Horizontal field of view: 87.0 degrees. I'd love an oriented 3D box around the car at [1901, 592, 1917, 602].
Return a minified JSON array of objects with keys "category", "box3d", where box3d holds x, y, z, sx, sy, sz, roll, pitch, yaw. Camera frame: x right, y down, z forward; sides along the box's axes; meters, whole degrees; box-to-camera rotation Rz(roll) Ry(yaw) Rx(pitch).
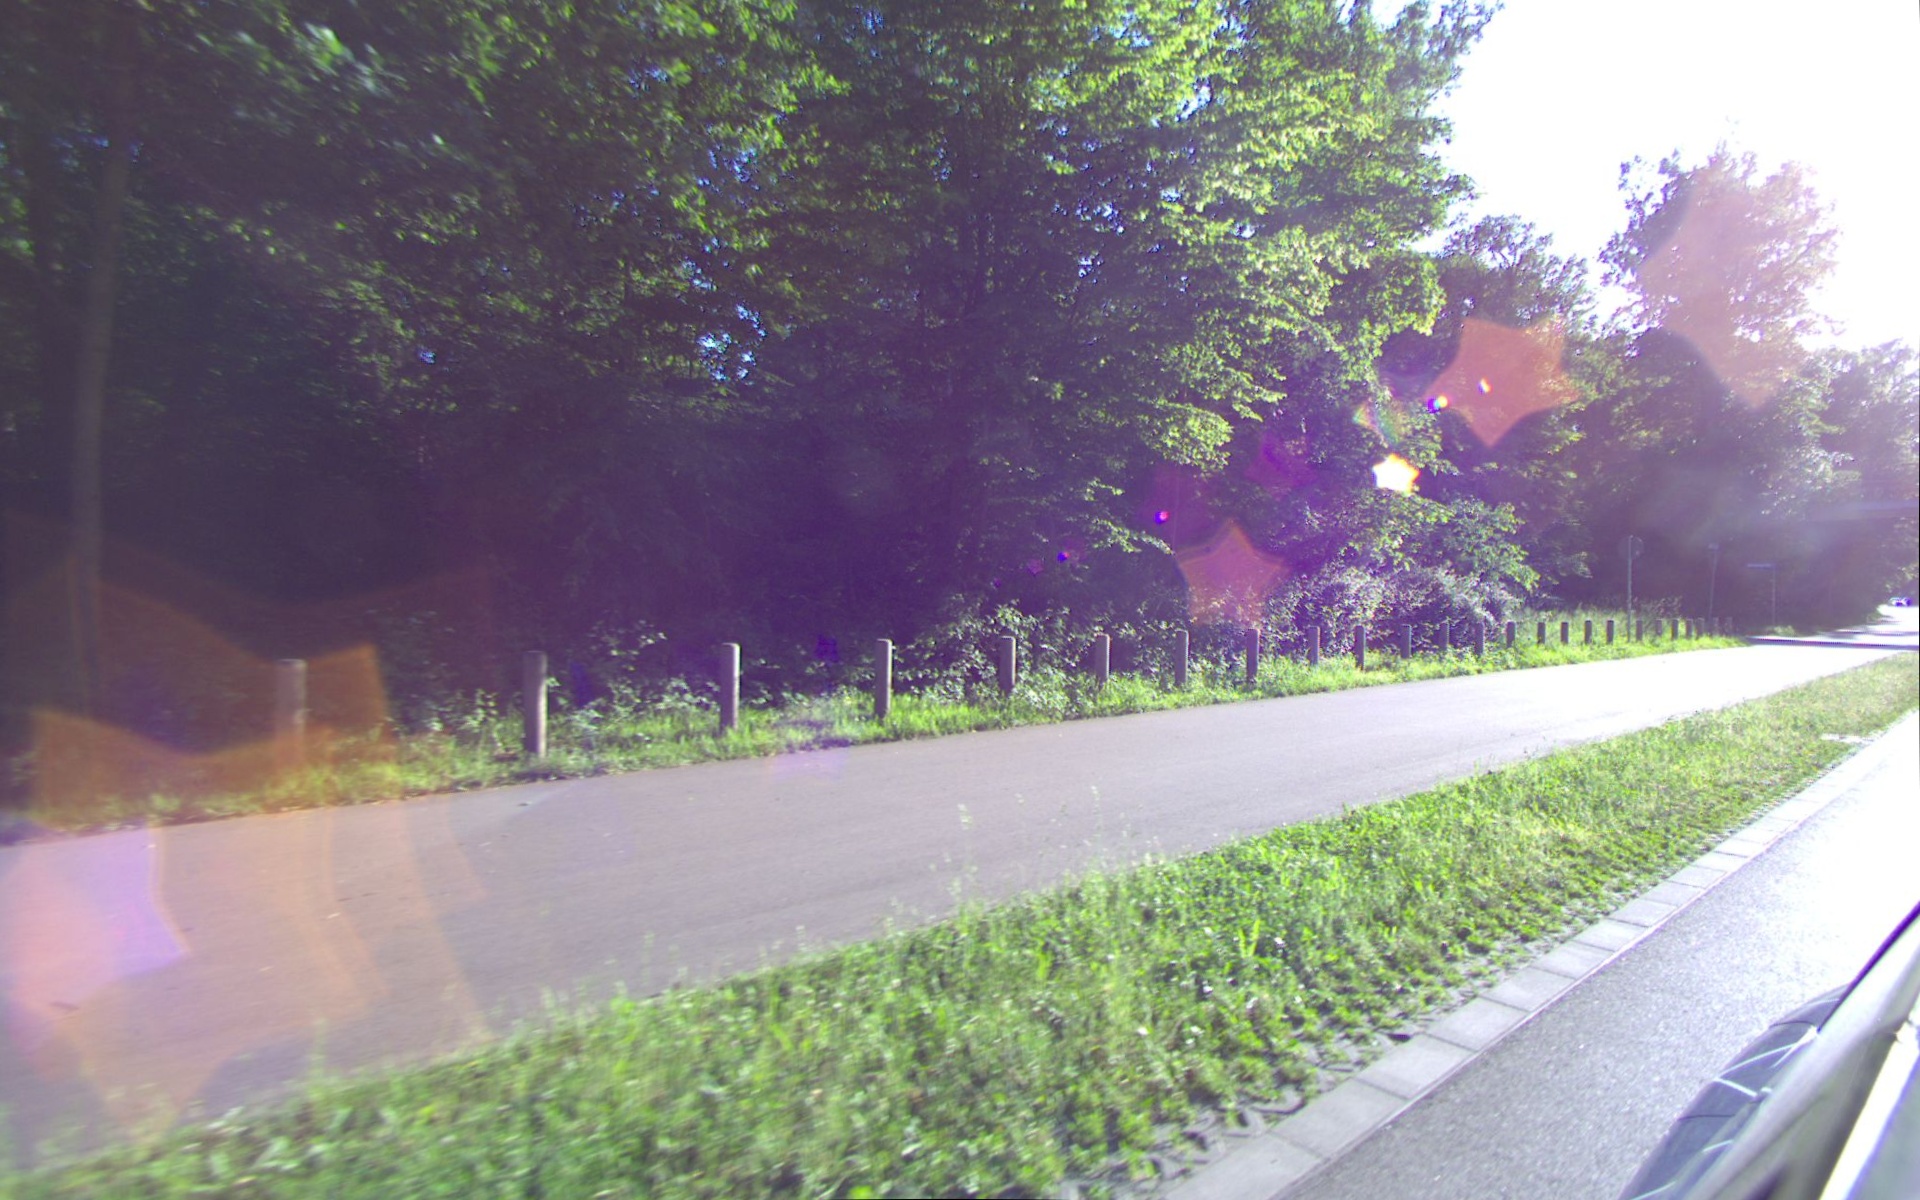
[{"category":"car","box3d":[168.291,-0.600,179.519,1.819,1.705,3.942,1,1,40]}]
